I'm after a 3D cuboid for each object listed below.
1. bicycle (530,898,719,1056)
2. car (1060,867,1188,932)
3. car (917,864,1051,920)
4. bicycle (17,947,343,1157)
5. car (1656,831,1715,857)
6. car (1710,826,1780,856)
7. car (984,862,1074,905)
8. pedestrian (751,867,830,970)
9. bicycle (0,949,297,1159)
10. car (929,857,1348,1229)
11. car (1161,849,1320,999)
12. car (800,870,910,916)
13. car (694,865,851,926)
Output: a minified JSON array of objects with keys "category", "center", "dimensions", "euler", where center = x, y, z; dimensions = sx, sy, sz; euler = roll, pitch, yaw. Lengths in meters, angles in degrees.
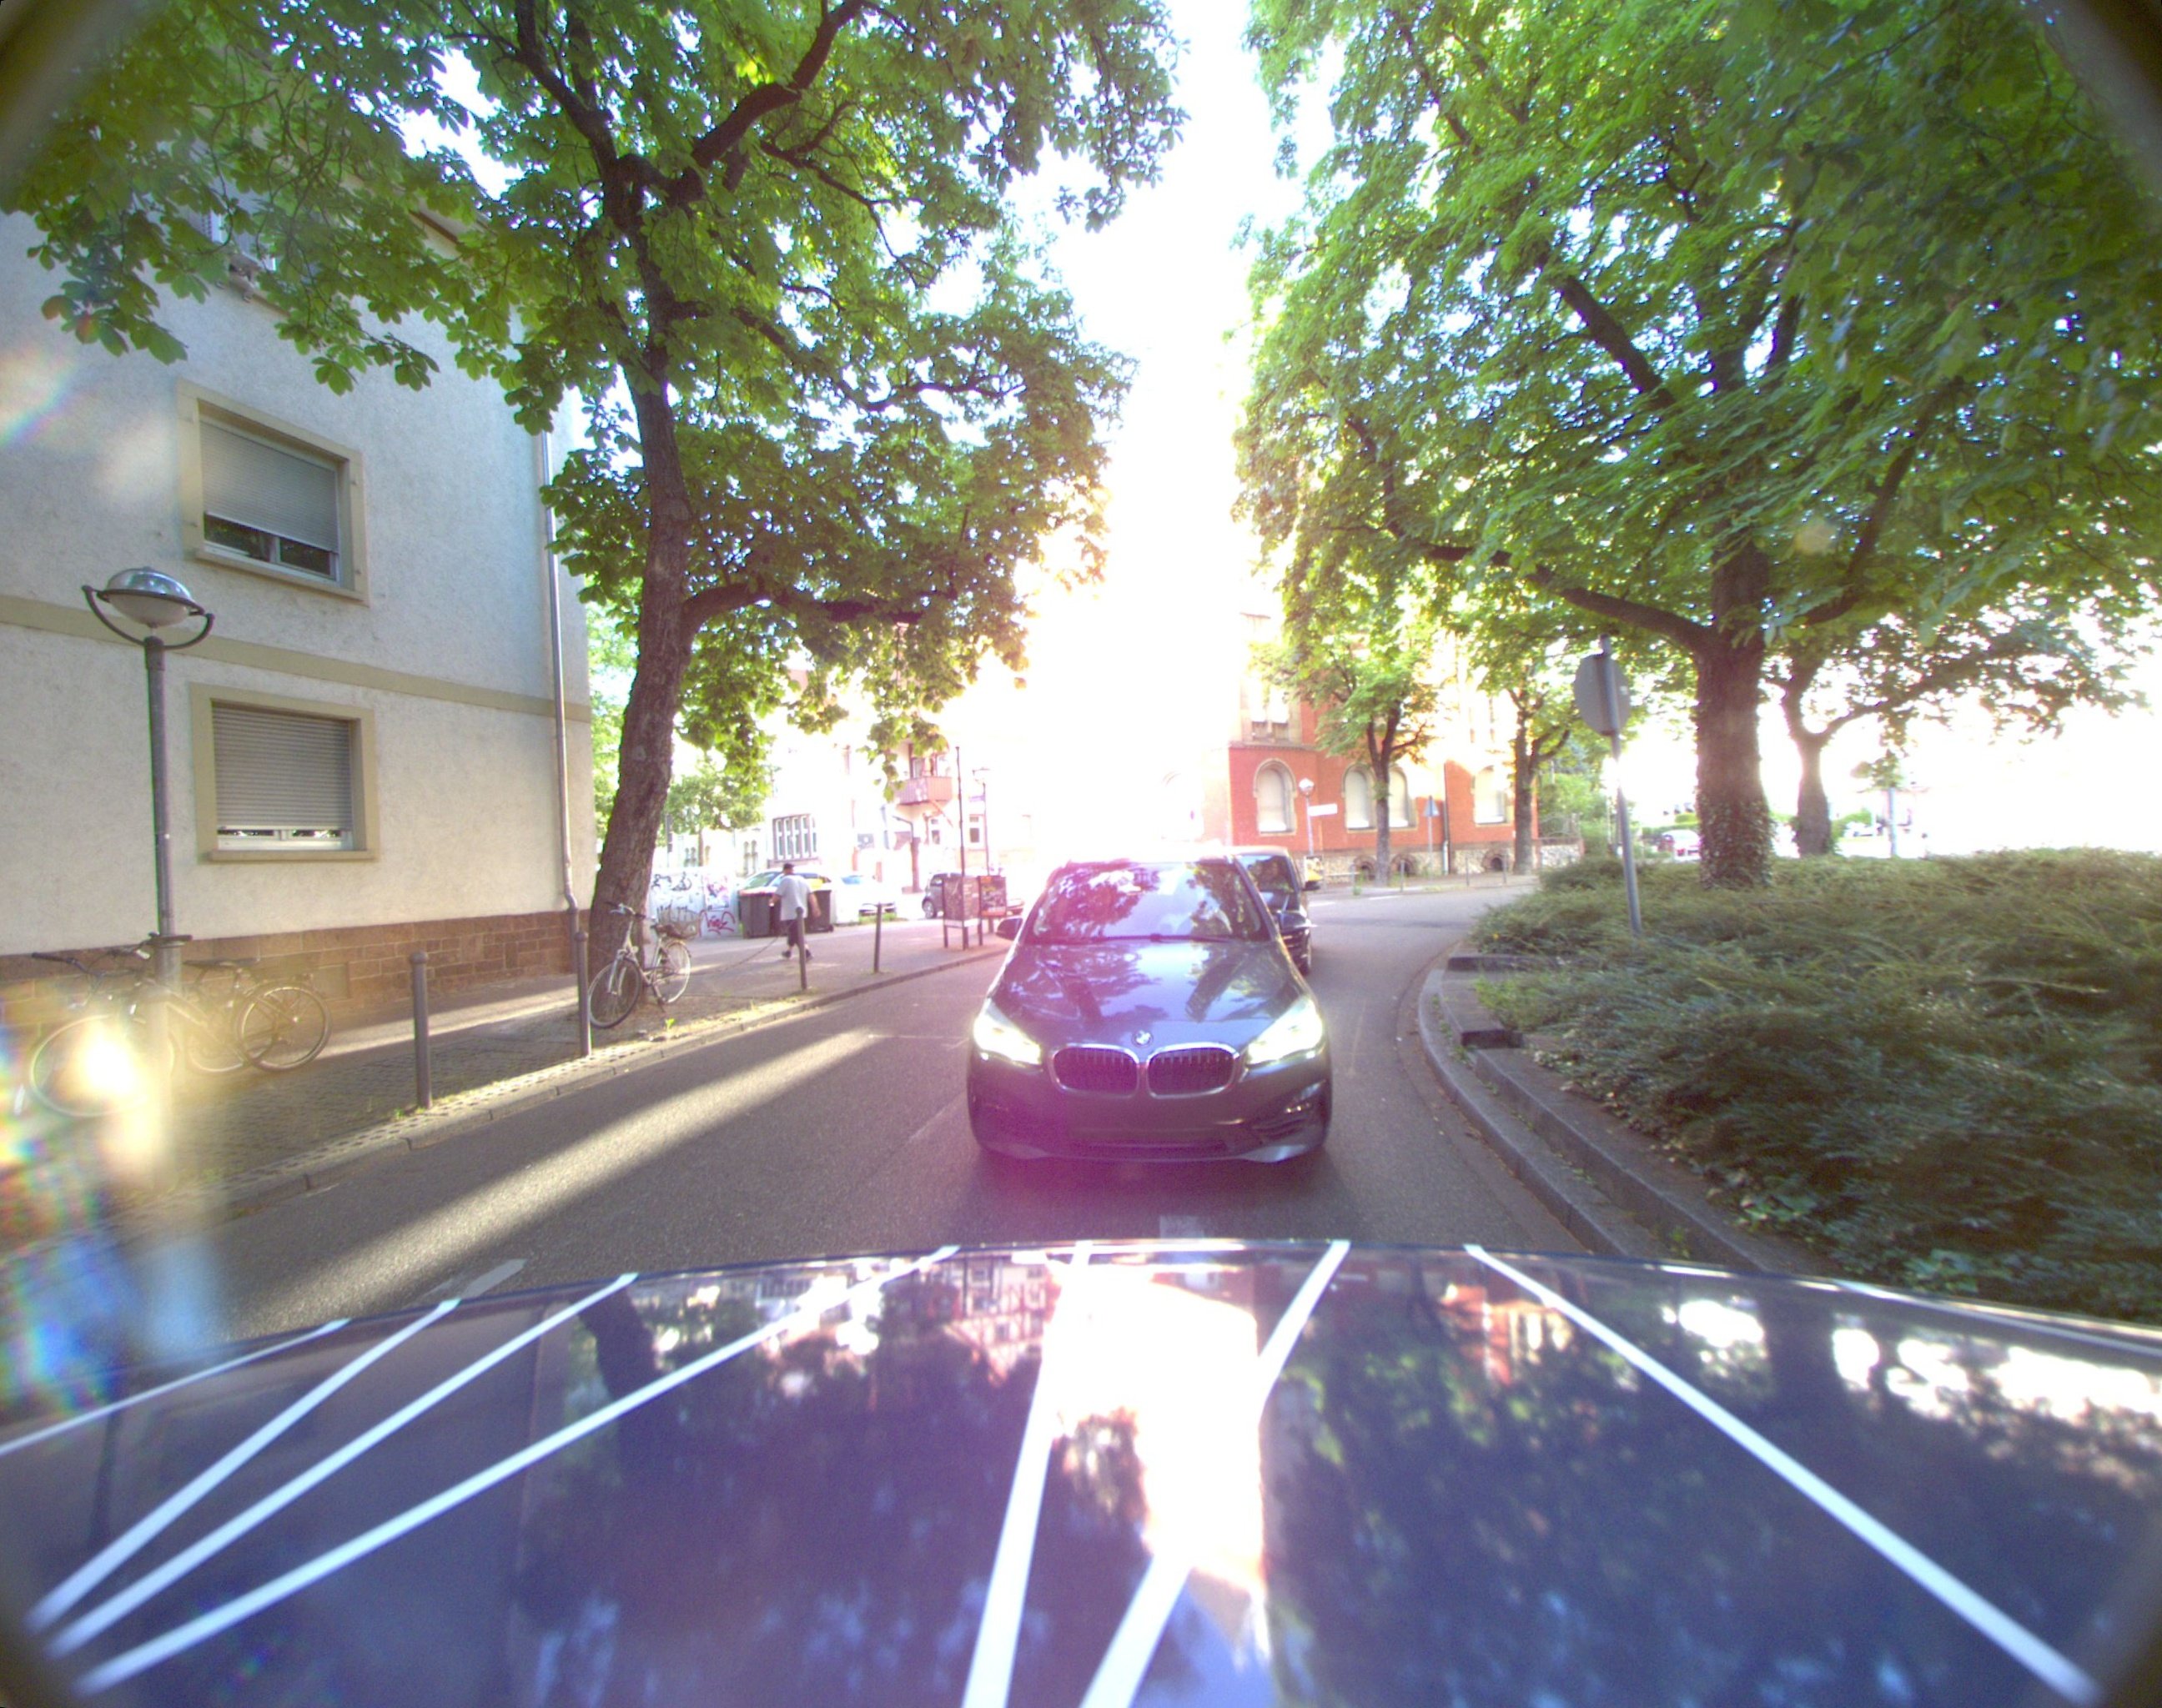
[{"category":"bicycle","center":[-4.601,1.172,7.858],"dimensions":[0.767,1.297,1.903],"euler":[-3,0,-1]},{"category":"car","center":[0.959,1.039,18.558],"dimensions":[1.475,1.381,3.394],"euler":[-2,0,-30]},{"category":"car","center":[-3.035,1.177,23.447],"dimensions":[4.041,1.543,1.700],"euler":[-3,0,39]},{"category":"bicycle","center":[-6.366,1.327,5.517],"dimensions":[0.334,1.087,1.636],"euler":[-3,0,1]},{"category":"car","center":[38.012,-0.664,47.875],"dimensions":[1.733,1.409,4.004],"euler":[-3,2,21]},{"category":"car","center":[35.033,-0.709,40.209],"dimensions":[1.733,1.409,4.006],"euler":[-3,0,25]},{"category":"car","center":[-2.011,1.113,29.057],"dimensions":[3.207,1.530,1.495],"euler":[-2,0,38]},{"category":"pedestrian","center":[-4.643,1.024,12.194],"dimensions":[0.944,1.583,0.643],"euler":[-1,1,8]},{"category":"bicycle","center":[-6.731,1.339,5.495],"dimensions":[0.334,1.087,1.636],"euler":[-3,0,1]},{"category":"car","center":[0.463,0.861,5.482],"dimensions":[1.792,1.569,4.262],"euler":[-2,0,6]},{"category":"car","center":[2.258,0.796,10.335],"dimensions":[1.677,1.619,3.691],"euler":[-3,0,15]},{"category":"car","center":[-8.474,1.462,28.381],"dimensions":[4.175,1.543,1.809],"euler":[-3,-1,39]},{"category":"car","center":[-8.806,1.151,21.942],"dimensions":[1.672,1.417,3.811],"euler":[-3,0,36]}]
